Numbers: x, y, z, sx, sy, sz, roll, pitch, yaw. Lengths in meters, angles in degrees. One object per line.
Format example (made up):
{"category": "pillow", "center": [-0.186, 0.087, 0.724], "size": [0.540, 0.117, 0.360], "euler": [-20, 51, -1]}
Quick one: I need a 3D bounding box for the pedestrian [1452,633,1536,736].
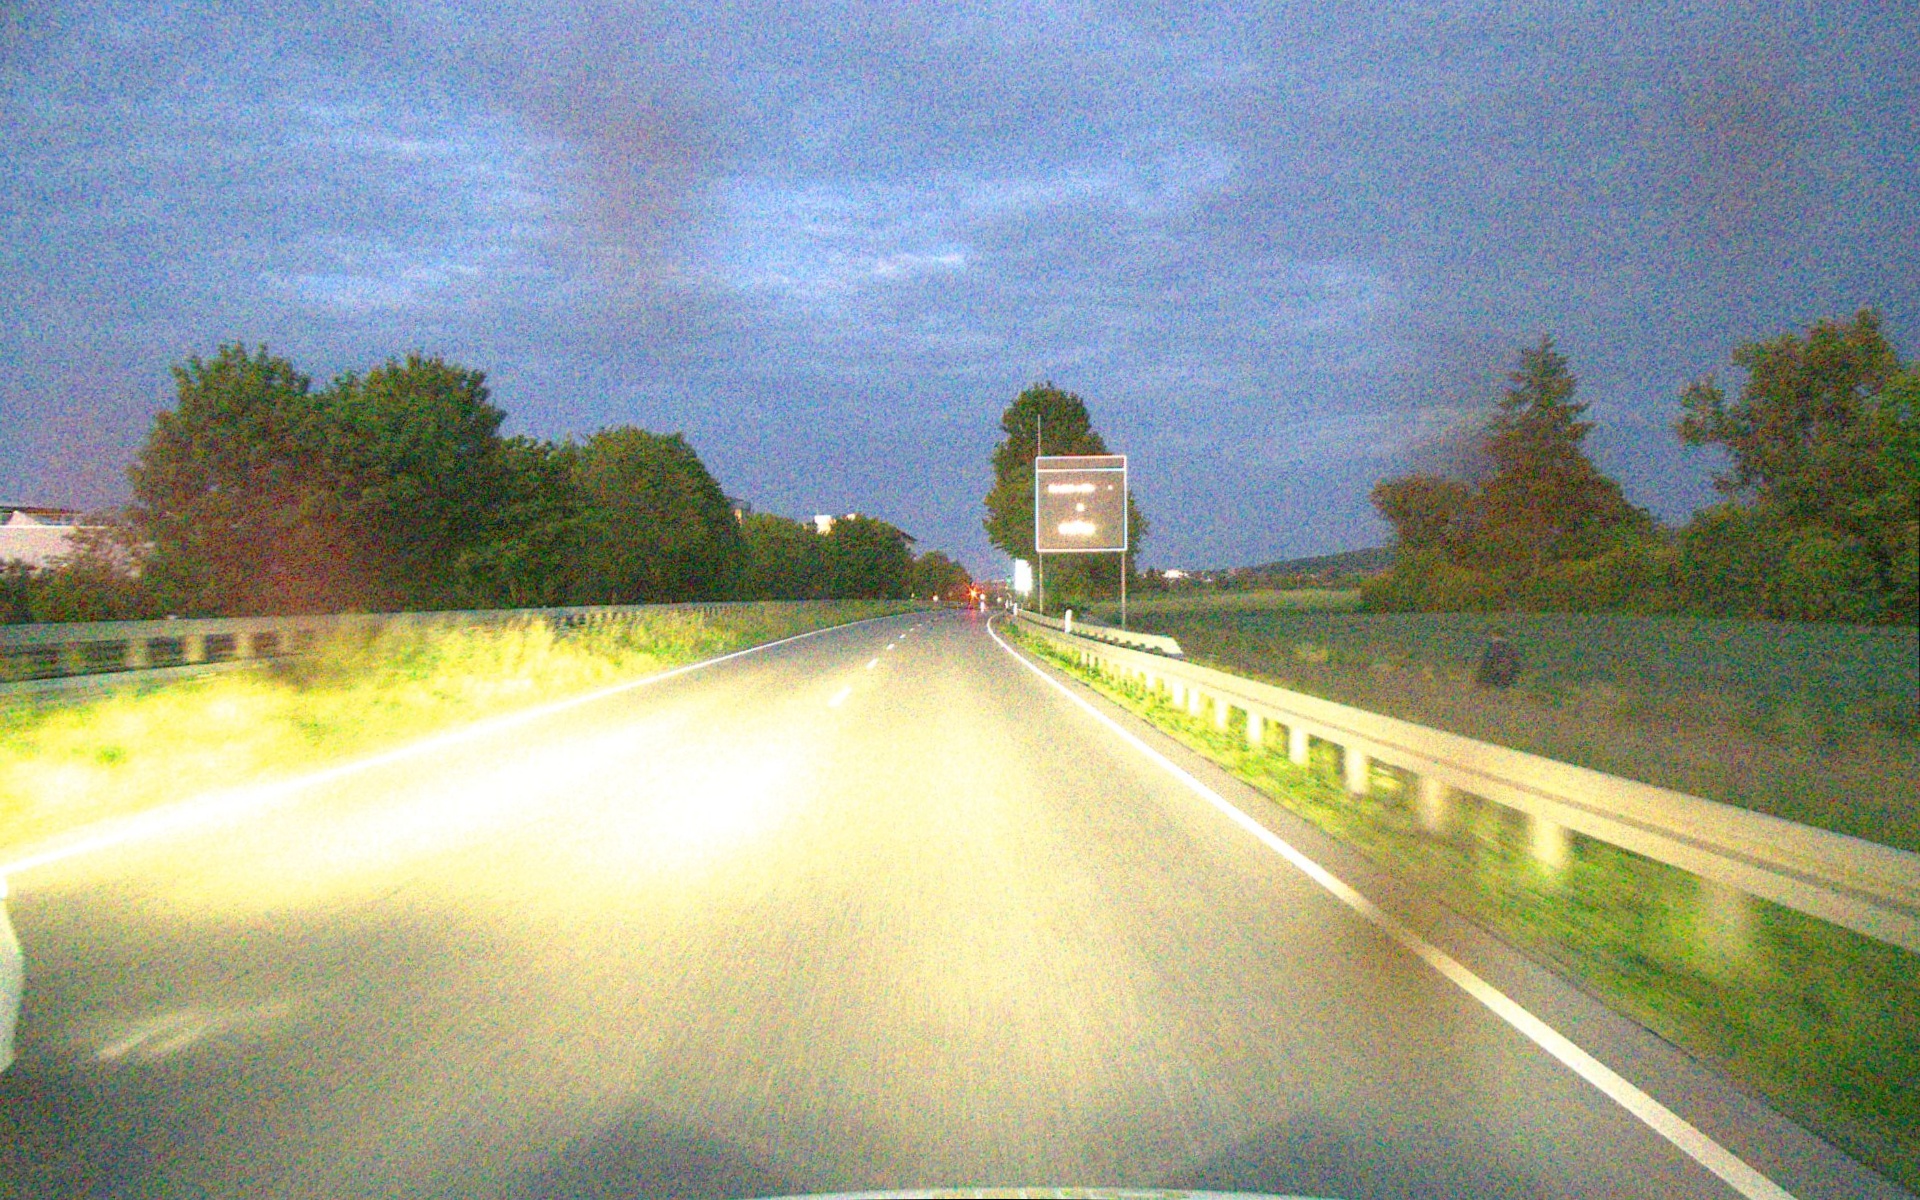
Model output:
{"category": "pedestrian", "center": [9.030, 1.417, 27.993], "size": [1.040, 1.672, 1.118], "euler": [1, 0, -1]}

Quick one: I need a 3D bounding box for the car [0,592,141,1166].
{"category": "car", "center": [-3.302, 0.730, 2.807], "size": [1.608, 1.516, 4.578], "euler": [1, 0, -1]}
